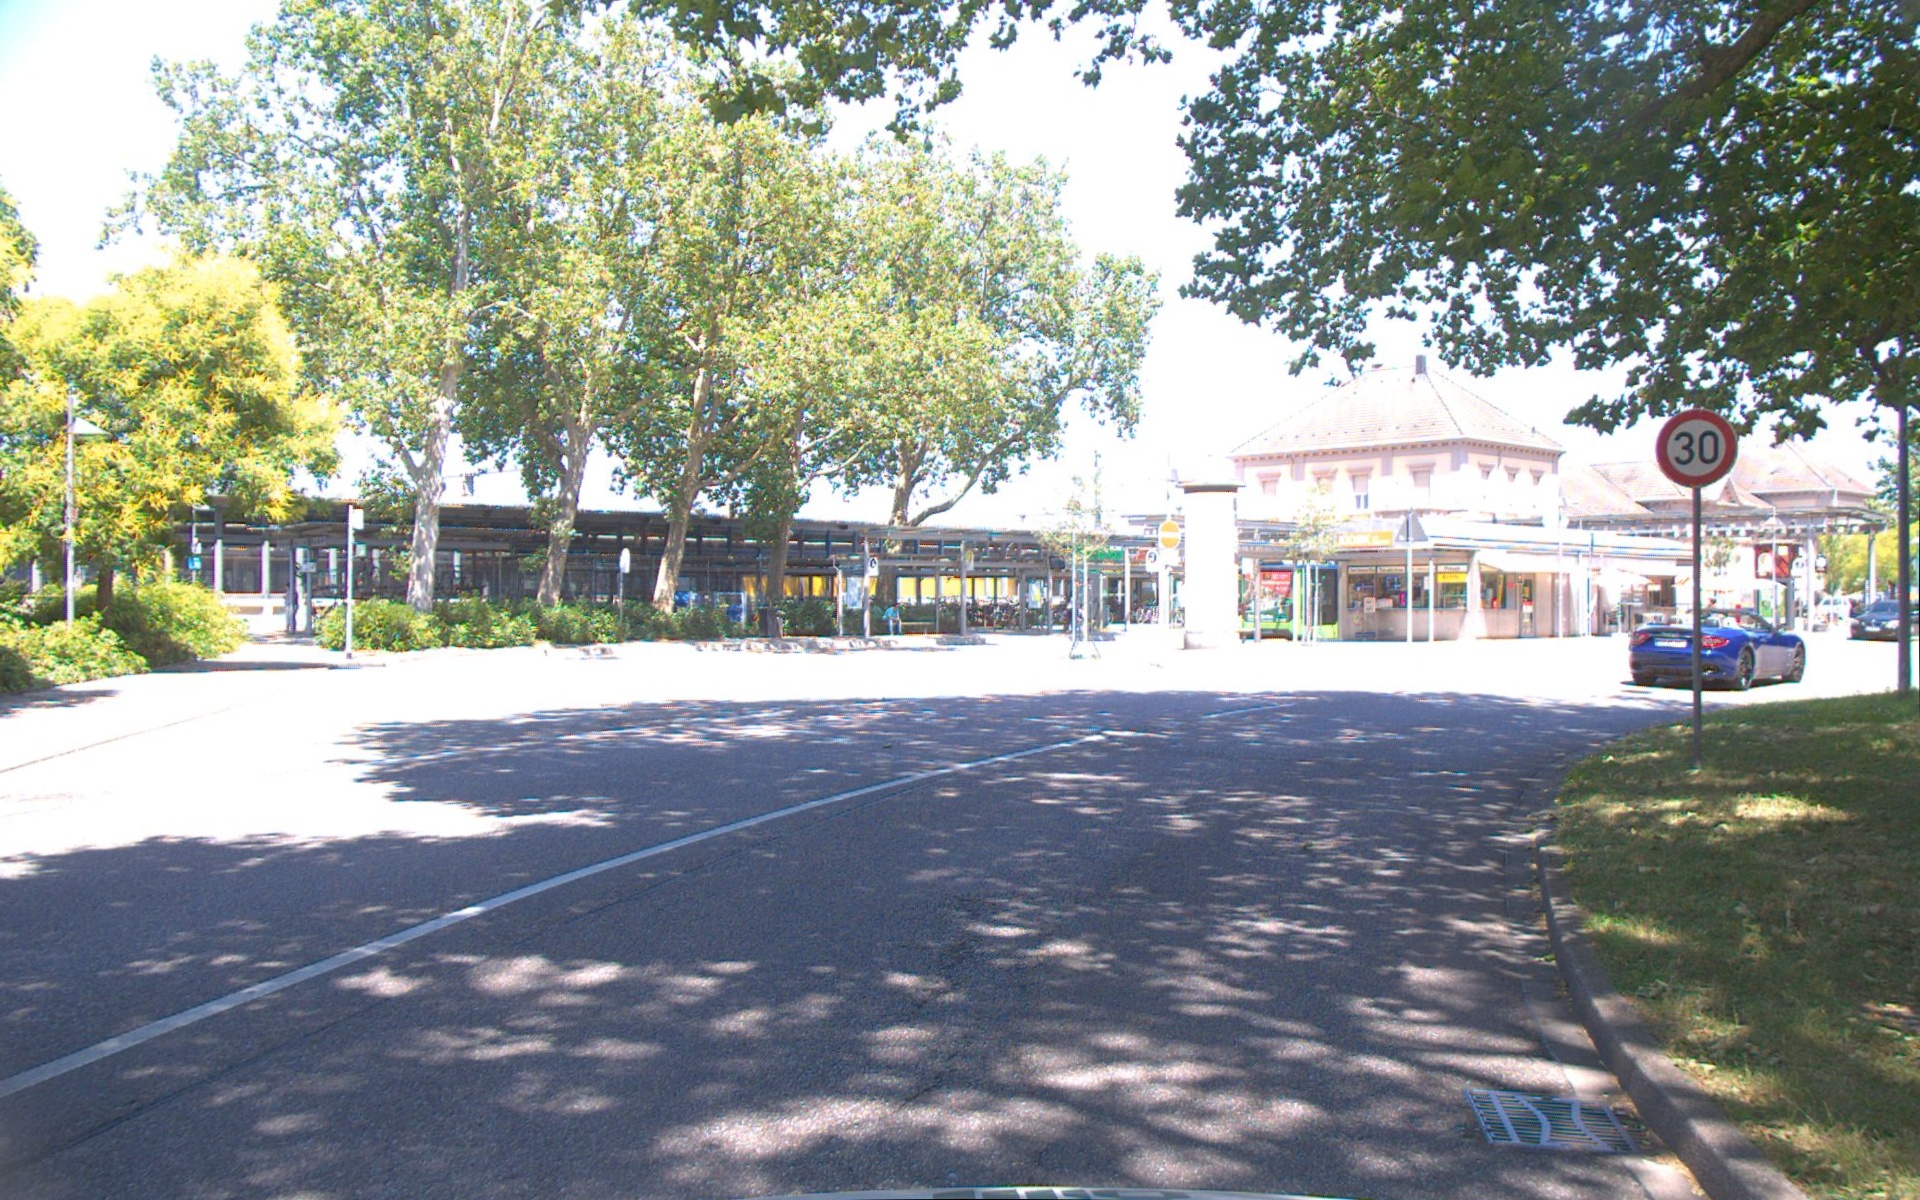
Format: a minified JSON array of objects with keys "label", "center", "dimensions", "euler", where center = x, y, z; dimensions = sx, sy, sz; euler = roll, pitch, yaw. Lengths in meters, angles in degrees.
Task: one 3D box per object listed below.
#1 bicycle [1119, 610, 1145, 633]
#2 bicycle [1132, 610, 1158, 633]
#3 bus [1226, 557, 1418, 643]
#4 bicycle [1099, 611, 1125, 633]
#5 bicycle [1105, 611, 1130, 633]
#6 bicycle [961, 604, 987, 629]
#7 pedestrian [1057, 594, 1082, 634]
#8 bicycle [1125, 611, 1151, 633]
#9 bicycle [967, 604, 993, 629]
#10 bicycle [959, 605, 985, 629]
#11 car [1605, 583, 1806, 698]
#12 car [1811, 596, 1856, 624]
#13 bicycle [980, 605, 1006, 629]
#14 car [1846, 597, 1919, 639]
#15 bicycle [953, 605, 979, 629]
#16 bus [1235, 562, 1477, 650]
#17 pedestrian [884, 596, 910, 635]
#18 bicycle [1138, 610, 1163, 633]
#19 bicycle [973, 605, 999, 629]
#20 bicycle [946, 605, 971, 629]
[{"label":"bicycle","center":[8.517,1.074,81.918],"dimensions":[0.364,1.119,1.384],"euler":[0,0,-42]},{"label":"bicycle","center":[9.249,1.079,82.588],"dimensions":[0.383,1.113,1.364],"euler":[0,0,-42]},{"label":"bus","center":[16.253,-0.002,73.405],"dimensions":[12.132,3.588,2.133],"euler":[0,0,-45]},{"label":"bicycle","center":[7.631,1.096,83.058],"dimensions":[0.383,1.113,1.364],"euler":[0,0,-42]},{"label":"bicycle","center":[7.958,1.095,83.353],"dimensions":[0.383,1.113,1.364],"euler":[0,0,-42]},{"label":"bicycle","center":[0.643,0.759,76.177],"dimensions":[0.383,1.113,1.363],"euler":[3,-2,-44]},{"label":"pedestrian","center":[4.609,0.578,69.607],"dimensions":[0.803,1.645,0.768],"euler":[0,0,27]},{"label":"bicycle","center":[8.860,1.086,82.227],"dimensions":[0.383,1.113,1.364],"euler":[0,0,-42]},{"label":"bicycle","center":[0.929,0.773,76.510],"dimensions":[0.383,1.113,1.364],"euler":[3,-2,-42]},{"label":"bicycle","center":[0.566,0.811,78.128],"dimensions":[0.383,1.113,1.364],"euler":[3,-2,-42]},{"label":"car","center":[13.204,0.667,29.179],"dimensions":[2.095,1.881,4.022],"euler":[0,0,43]},{"label":"car","center":[66.012,0.759,124.934],"dimensions":[1.728,1.951,4.741],"euler":[-1,0,45]},{"label":"bicycle","center":[1.525,0.798,77.069],"dimensions":[0.383,1.113,1.364],"euler":[3,-2,-42]},{"label":"car","center":[34.490,0.668,61.306],"dimensions":[1.695,1.504,4.753],"euler":[-1,-1,44]},{"label":"bicycle","center":[0.265,0.798,77.828],"dimensions":[0.383,1.113,1.364],"euler":[3,-2,-42]},{"label":"bus","center":[15.665,0.269,64.215],"dimensions":[2.637,3.094,13.798],"euler":[-1,-1,43]},{"label":"pedestrian","center":[-2.391,0.579,62.662],"dimensions":[0.596,1.489,0.817],"euler":[-1,-1,42]},{"label":"bicycle","center":[9.548,1.076,82.870],"dimensions":[0.383,1.113,1.364],"euler":[0,0,-42]},{"label":"bicycle","center":[1.216,0.786,76.797],"dimensions":[0.383,1.113,1.364],"euler":[3,-2,-42]},{"label":"bicycle","center":[-0.078,0.784,77.516],"dimensions":[0.383,1.113,1.364],"euler":[2,-2,-42]}]
